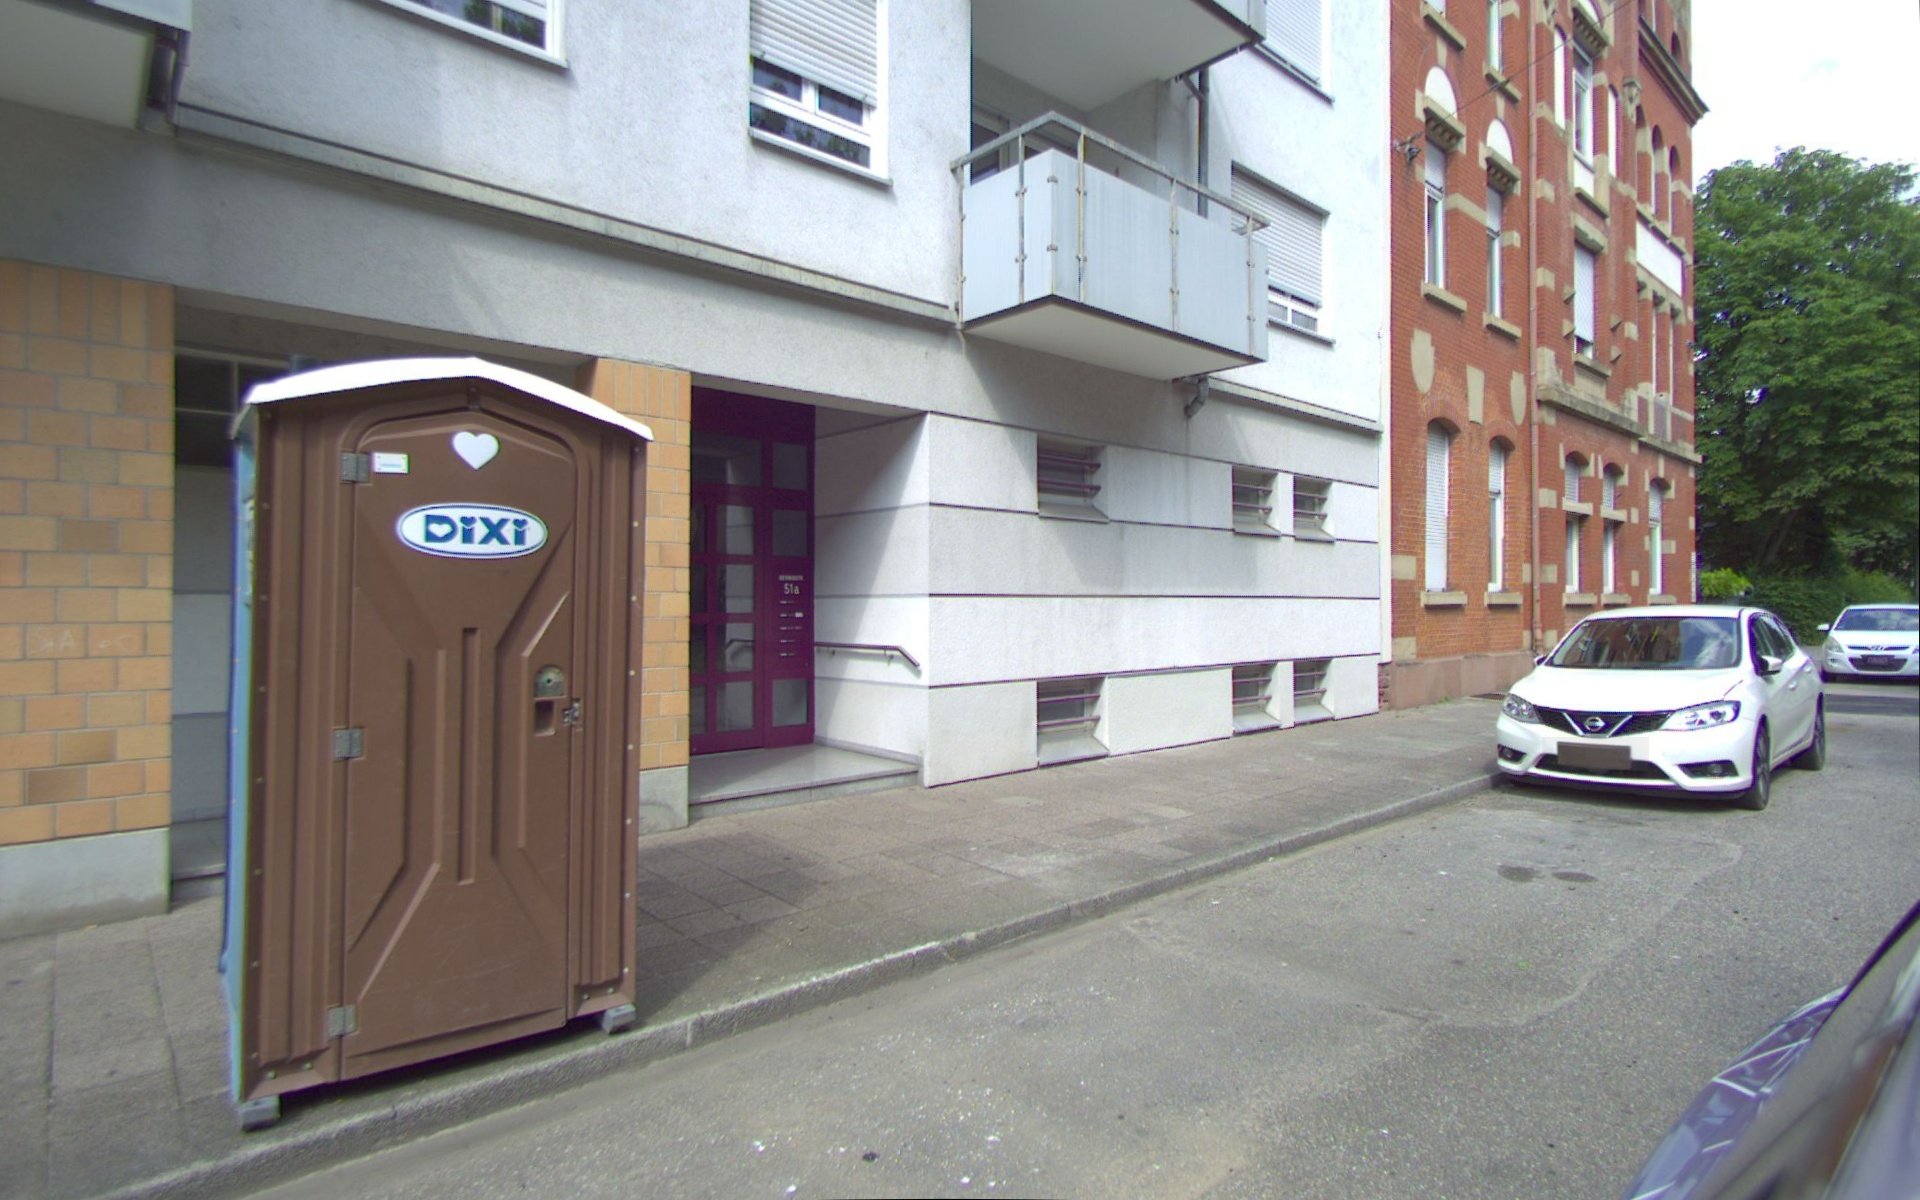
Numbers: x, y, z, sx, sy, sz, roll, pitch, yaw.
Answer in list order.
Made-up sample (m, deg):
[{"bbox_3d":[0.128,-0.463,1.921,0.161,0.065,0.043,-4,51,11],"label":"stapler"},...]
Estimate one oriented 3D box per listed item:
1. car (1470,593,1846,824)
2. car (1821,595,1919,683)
[{"bbox_3d":[6.185,0.739,8.799,3.971,1.549,1.799,0,-1,-42],"label":"car"},{"bbox_3d":[18.154,0.692,19.530,3.971,1.549,1.799,0,-1,-42],"label":"car"}]
